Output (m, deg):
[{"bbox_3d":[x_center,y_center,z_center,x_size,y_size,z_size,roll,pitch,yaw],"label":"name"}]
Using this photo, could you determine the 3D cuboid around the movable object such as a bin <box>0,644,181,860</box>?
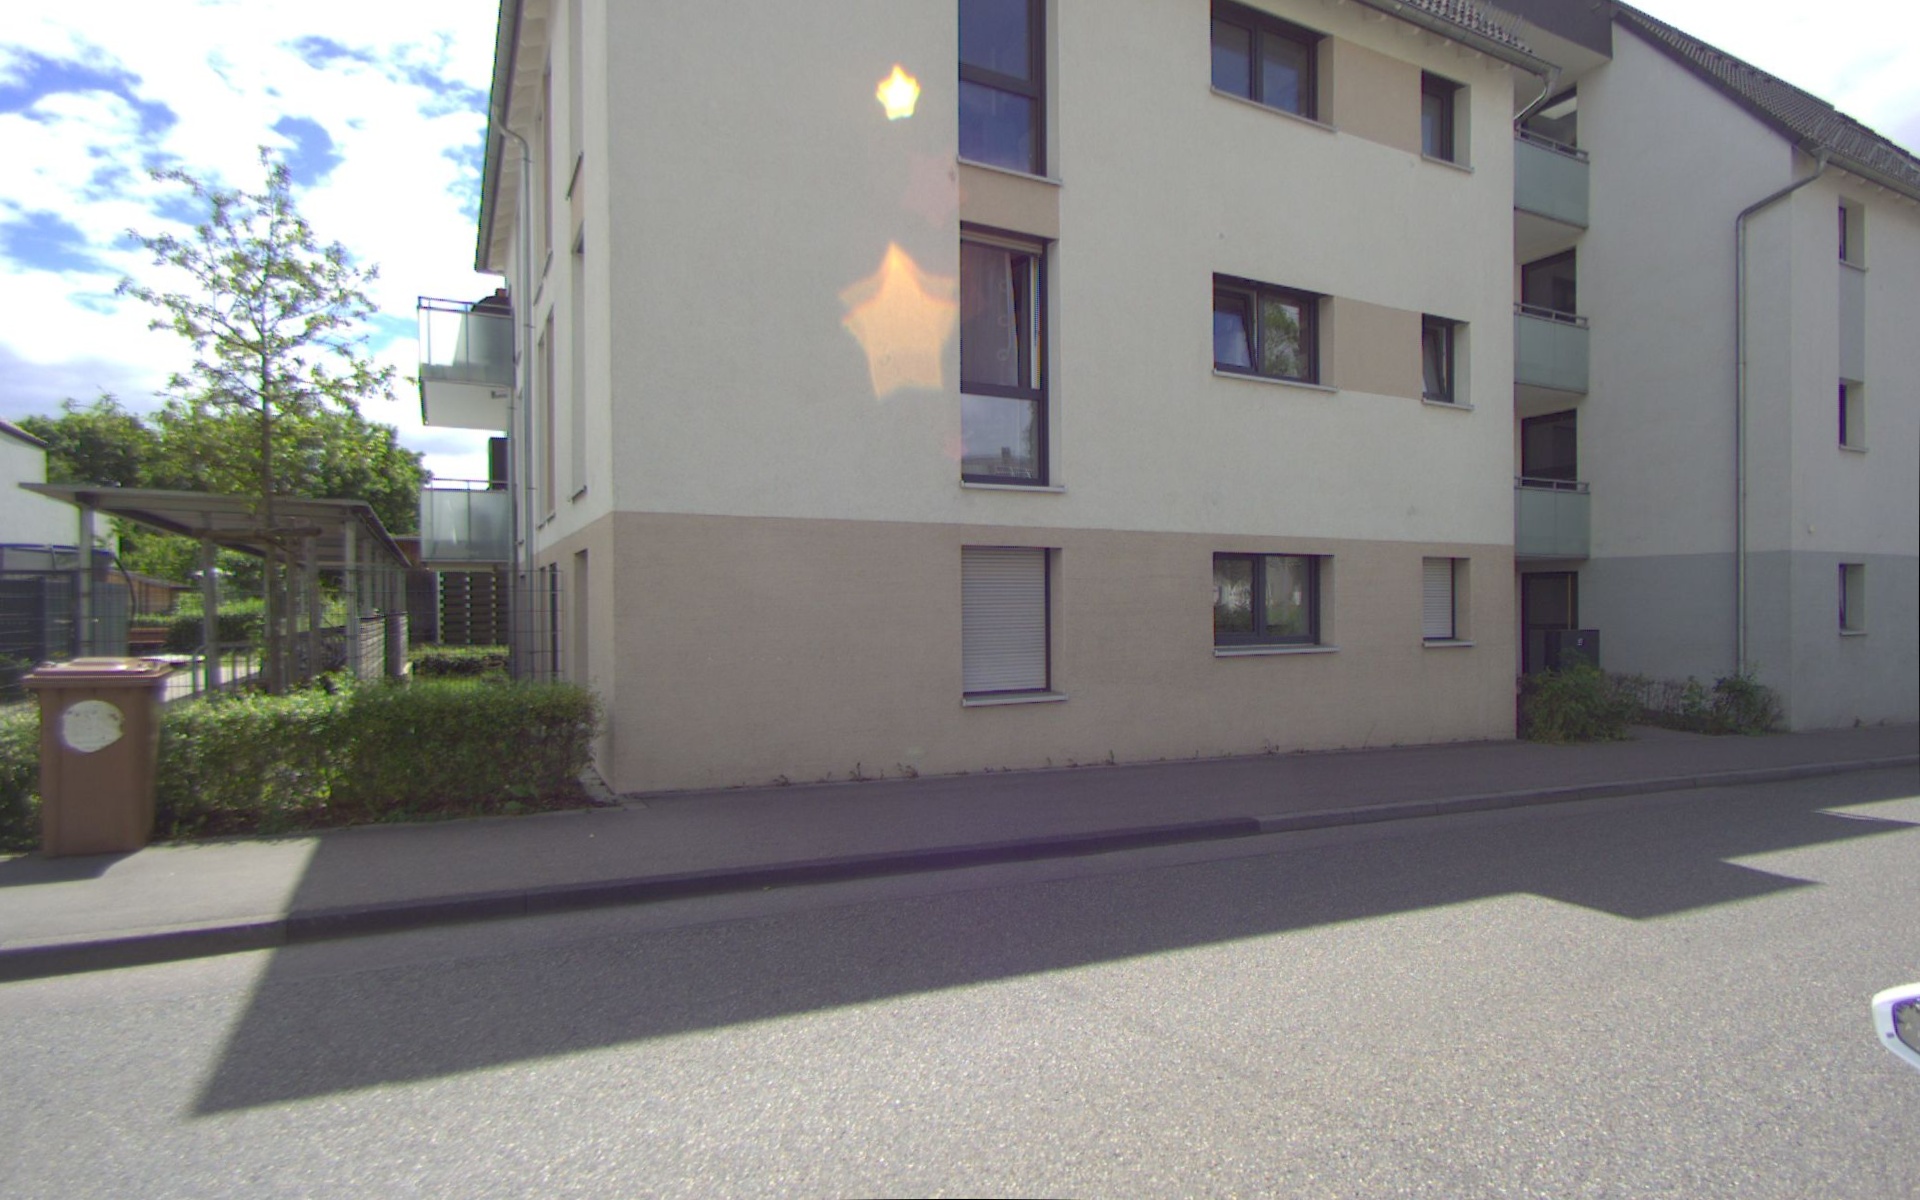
[{"bbox_3d":[-4.818,0.801,5.598,0.653,1.089,0.637,1,-1,-31],"label":"movable object such as a bin"}]

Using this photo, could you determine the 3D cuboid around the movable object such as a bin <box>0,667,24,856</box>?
[{"bbox_3d":[-5.503,0.881,5.312,0.649,1.014,0.638,1,-1,-29],"label":"movable object such as a bin"}]

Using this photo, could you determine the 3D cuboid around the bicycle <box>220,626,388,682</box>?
[{"bbox_3d":[-12.254,0.984,18.860,2.592,0.899,0.539,-1,2,-32],"label":"bicycle"}]

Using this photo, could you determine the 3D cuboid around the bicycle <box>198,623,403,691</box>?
[{"bbox_3d":[-10.111,0.849,15.527,2.592,0.899,0.539,-1,2,-32],"label":"bicycle"}]
